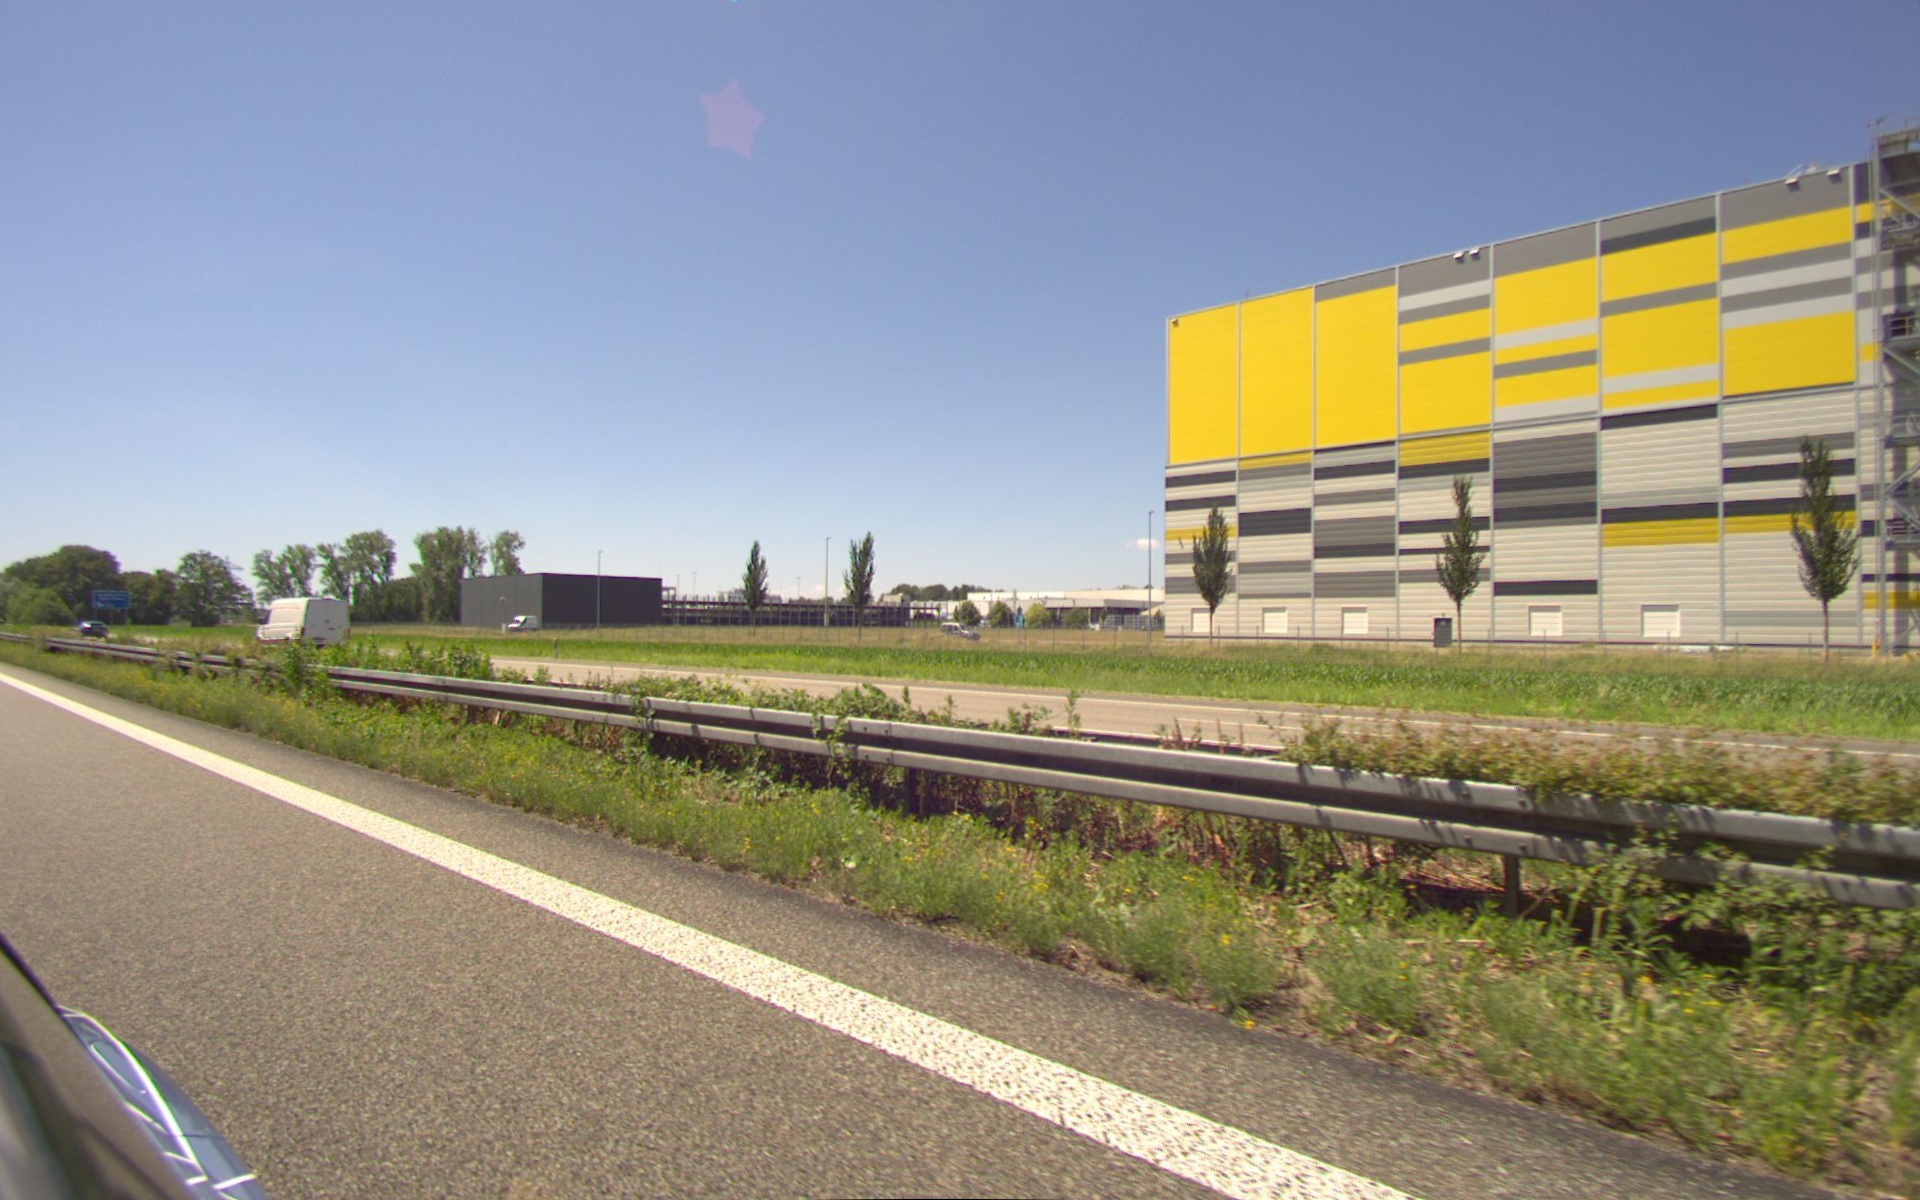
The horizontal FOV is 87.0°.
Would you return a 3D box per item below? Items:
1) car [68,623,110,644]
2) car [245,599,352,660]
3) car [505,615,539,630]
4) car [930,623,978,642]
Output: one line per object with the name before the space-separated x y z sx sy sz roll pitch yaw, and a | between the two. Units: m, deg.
car | -73.907 2.836 85.855 4.908 1.759 1.993 -1 -3 42
car | -30.439 1.344 46.420 7.932 2.574 2.046 -1 -3 42
car | -70.196 3.606 162.087 6.079 2.265 2.526 -1 -3 41
car | -0.529 2.965 92.708 4.267 1.750 1.808 -1 -3 41
